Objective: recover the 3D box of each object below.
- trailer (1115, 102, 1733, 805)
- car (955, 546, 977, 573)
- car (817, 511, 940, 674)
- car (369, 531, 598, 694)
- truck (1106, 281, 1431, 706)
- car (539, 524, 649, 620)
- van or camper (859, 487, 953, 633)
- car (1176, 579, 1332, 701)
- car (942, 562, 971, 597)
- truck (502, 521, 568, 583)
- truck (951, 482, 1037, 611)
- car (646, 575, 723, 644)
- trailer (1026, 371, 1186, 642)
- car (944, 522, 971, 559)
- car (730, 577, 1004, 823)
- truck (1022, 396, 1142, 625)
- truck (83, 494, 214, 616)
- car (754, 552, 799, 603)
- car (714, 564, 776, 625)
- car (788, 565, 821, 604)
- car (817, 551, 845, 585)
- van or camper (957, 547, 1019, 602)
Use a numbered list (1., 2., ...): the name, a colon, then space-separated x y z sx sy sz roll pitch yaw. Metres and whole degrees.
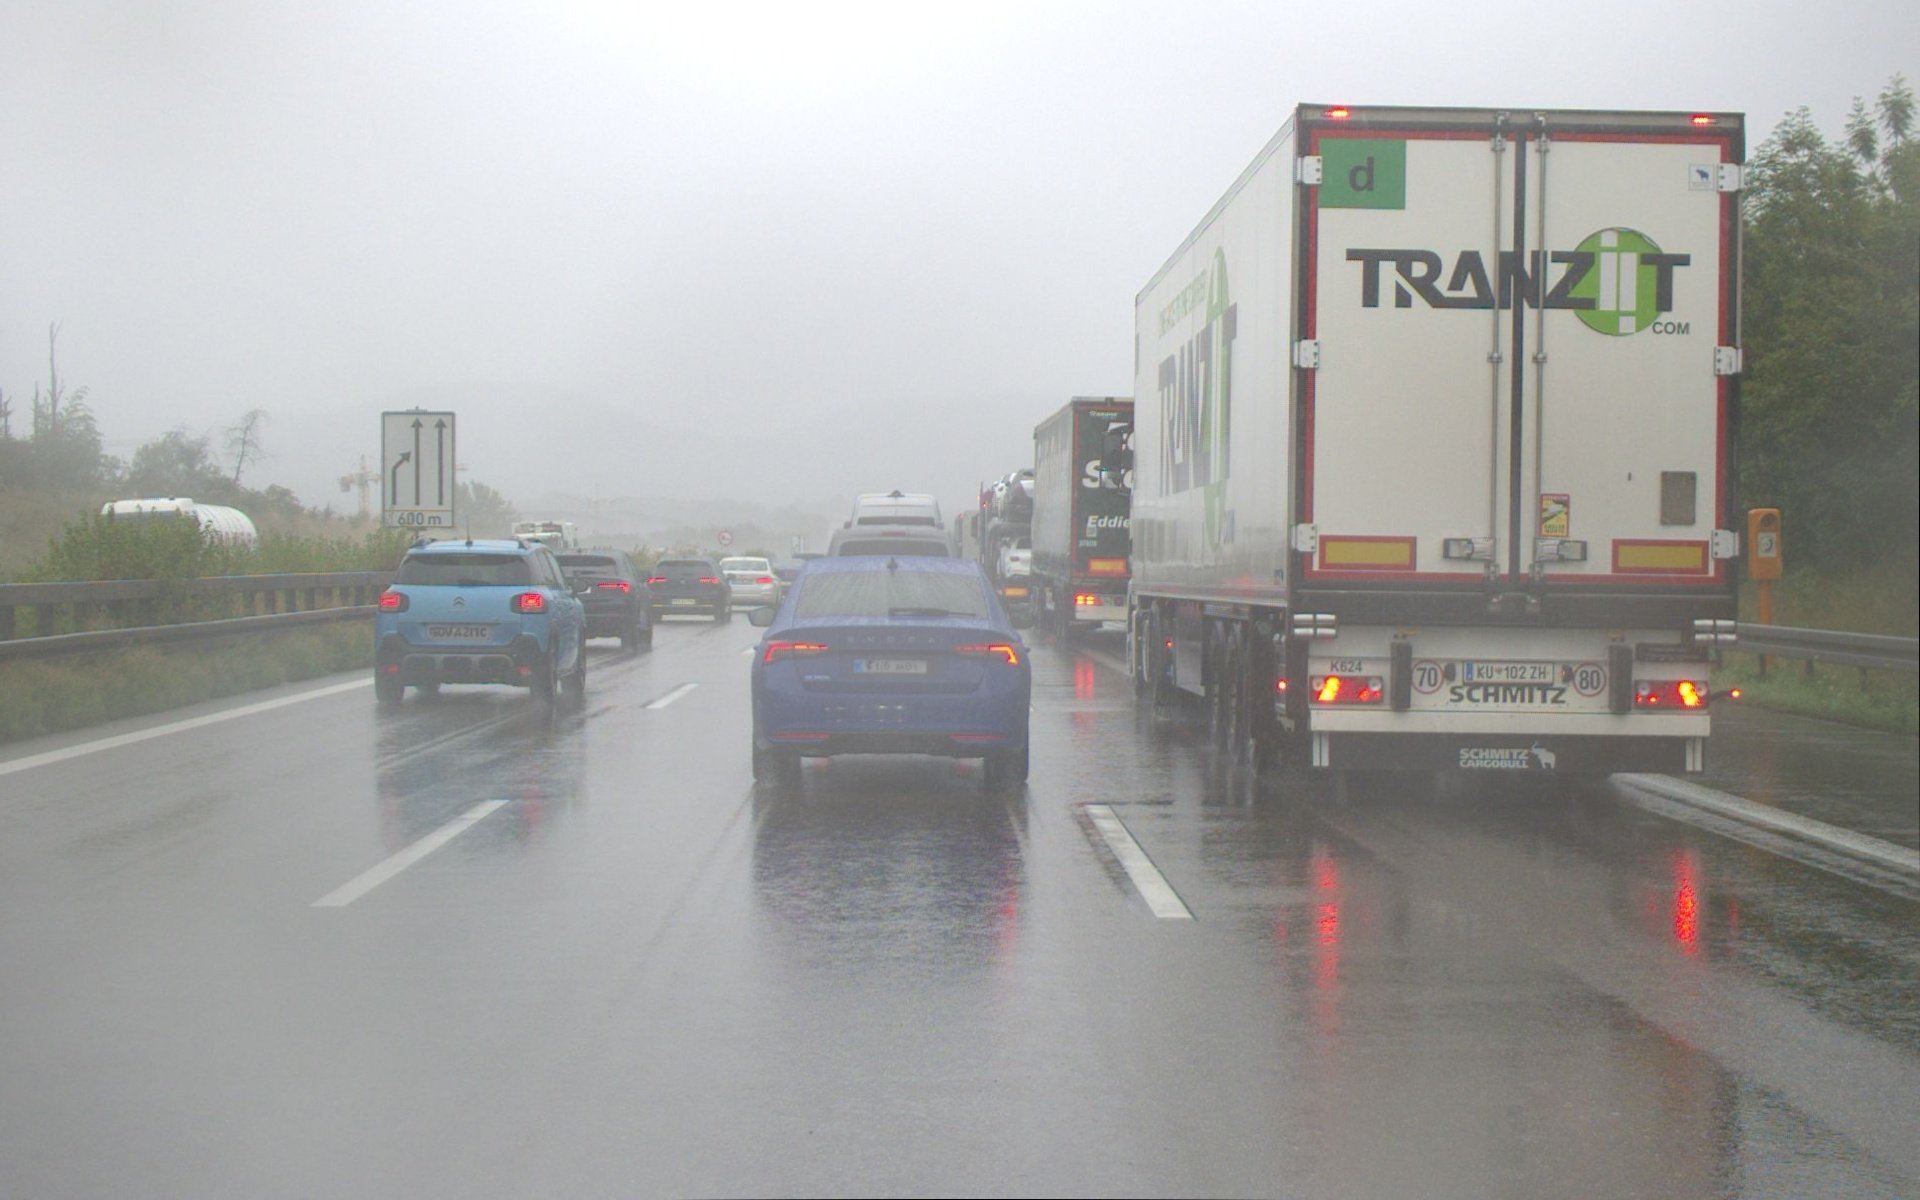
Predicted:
1. trailer: 2.979 -0.970 26.963 2.630 3.999 14.630 0 1 -1
2. car: 0.393 -2.746 232.828 1.448 1.777 3.409 1 0 -1
3. car: -0.918 -0.113 39.262 1.336 1.774 3.322 0 1 -1
4. car: -4.689 0.092 34.323 1.721 1.518 4.000 0 1 0
5. truck: 2.882 -1.005 33.401 2.630 3.814 4.791 0 1 -1
6. car: -5.564 -0.446 52.480 1.359 1.426 3.364 0 1 -1
7. van or camper: -1.069 -0.819 68.402 1.797 2.797 4.768 0 1 -1
8. car: 3.329 0.432 39.372 1.423 1.284 3.461 0 1 -1
9. car: -0.163 -0.961 157.397 1.248 1.507 3.108 0 2 -1
10. truck: -19.816 -2.220 160.439 2.481 2.710 4.528 -1 0 0
11. truck: 0.895 -1.517 95.298 1.993 3.410 8.033 0 1 -2
12. car: -5.958 0.186 74.604 1.439 1.415 3.322 0 1 -1
13. trailer: 2.364 -1.542 58.706 2.047 4.162 11.449 0 1 -1
14. car: -0.144 -3.120 179.273 1.335 1.883 3.040 -1 1 -1
15. car: -0.564 0.587 22.618 1.635 1.440 4.000 0 1 0
16. truck: 2.266 -1.677 64.969 2.047 4.178 4.000 0 1 -1
17. truck: -22.860 -1.244 97.058 2.541 3.269 5.199 -2 0 -2
18. car: -6.554 -0.798 122.671 1.448 1.777 3.409 1 0 -1
19. car: -5.609 -0.159 89.897 1.439 1.528 3.322 0 1 -1
20. car: -7.335 -0.745 162.240 1.448 1.777 3.409 1 0 -1
21. car: -7.057 -1.751 188.276 1.448 1.777 3.409 1 0 -1
22. van or camper: 0.827 -0.798 105.213 1.771 1.619 4.484 0 1 -1
